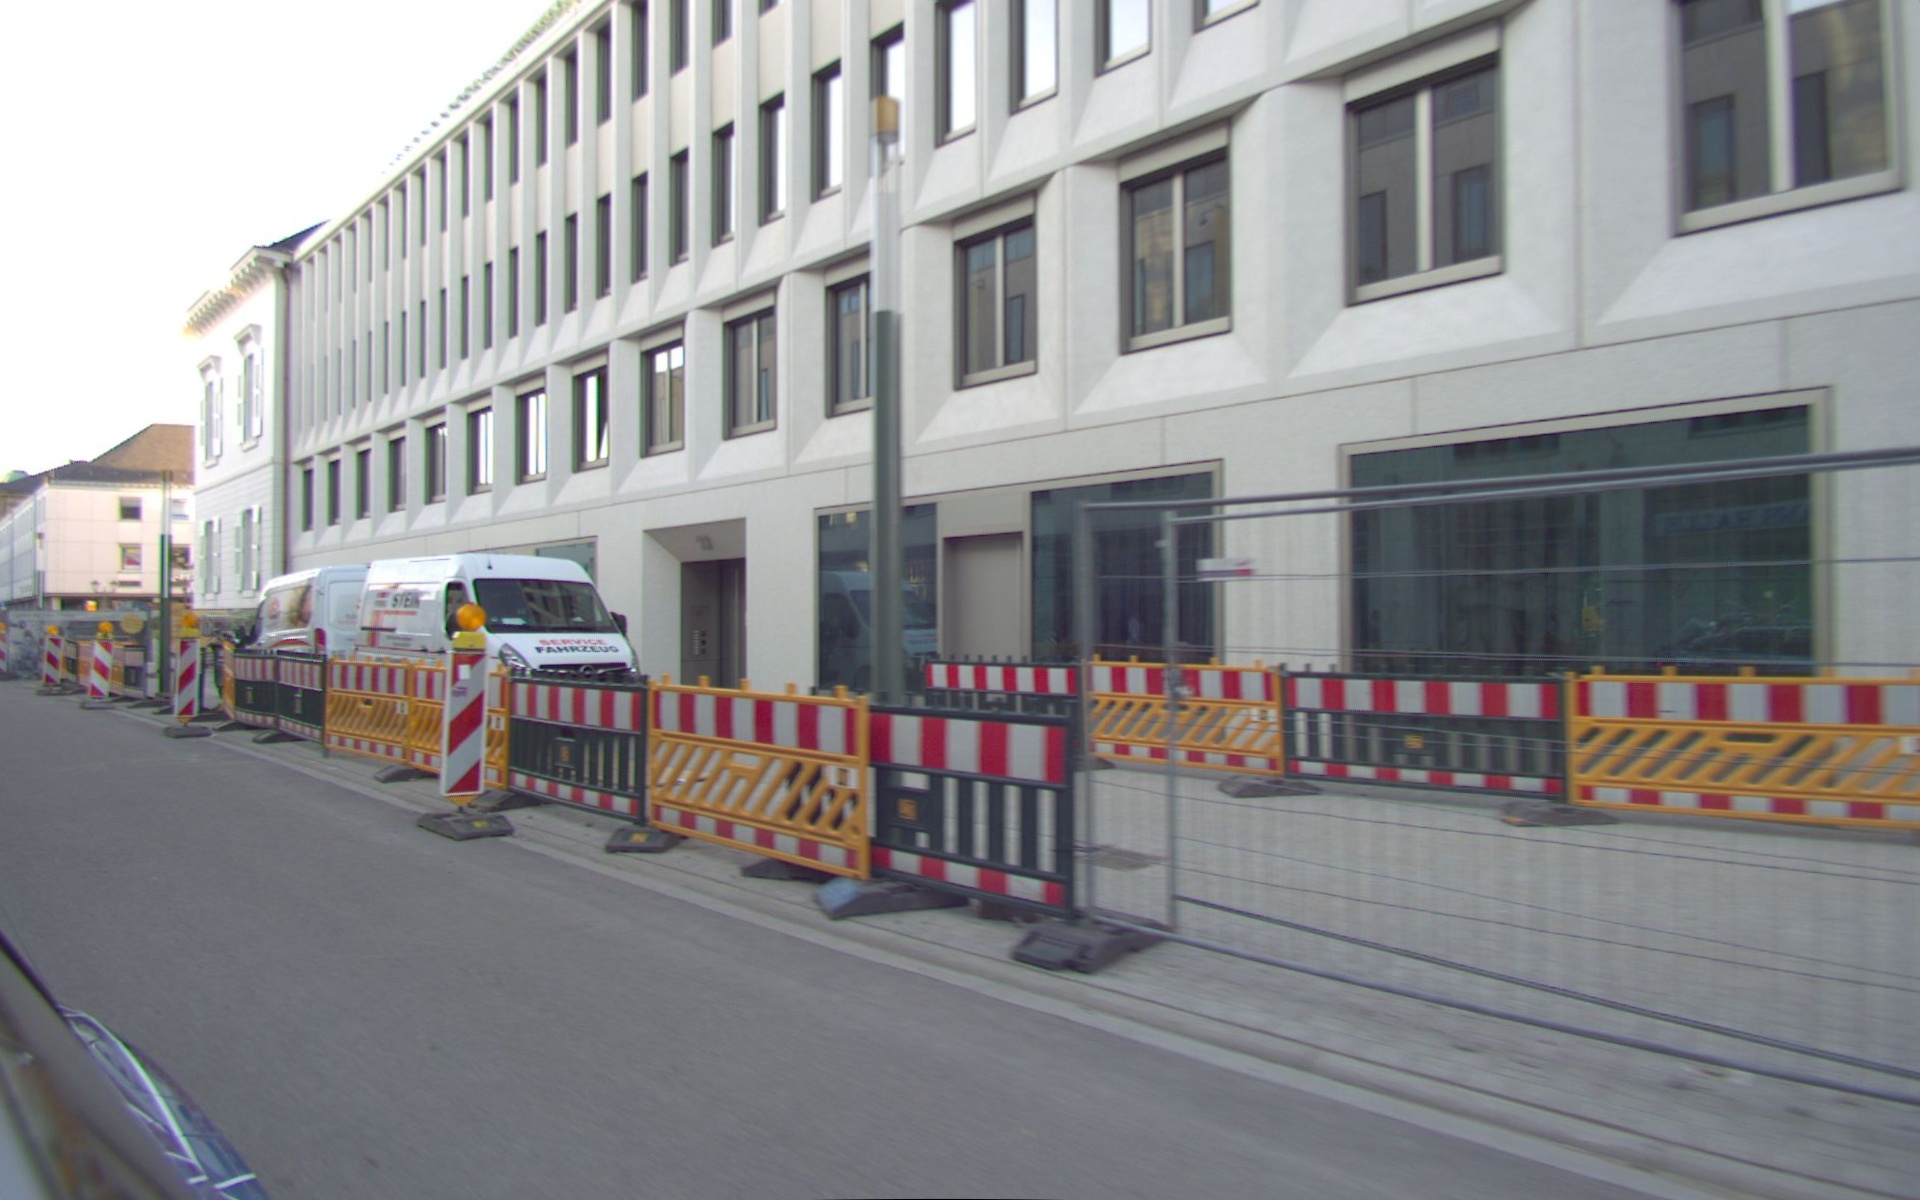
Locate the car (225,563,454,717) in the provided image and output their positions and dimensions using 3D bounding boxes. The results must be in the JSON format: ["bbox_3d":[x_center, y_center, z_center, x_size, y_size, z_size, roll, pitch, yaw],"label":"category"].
[{"bbox_3d":[-11.928,0.711,19.225,5.998,2.489,2.150,-2,-2,43],"label":"car"}]

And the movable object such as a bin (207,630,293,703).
[{"bbox_3d":[-15.212,1.400,21.701,1.388,1.477,1.036,-1,-1,30],"label":"movable object such as a bin"}]

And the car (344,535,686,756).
[{"bbox_3d":[-6.441,0.574,14.184,5.998,2.489,2.150,-1,-2,42],"label":"car"}]
